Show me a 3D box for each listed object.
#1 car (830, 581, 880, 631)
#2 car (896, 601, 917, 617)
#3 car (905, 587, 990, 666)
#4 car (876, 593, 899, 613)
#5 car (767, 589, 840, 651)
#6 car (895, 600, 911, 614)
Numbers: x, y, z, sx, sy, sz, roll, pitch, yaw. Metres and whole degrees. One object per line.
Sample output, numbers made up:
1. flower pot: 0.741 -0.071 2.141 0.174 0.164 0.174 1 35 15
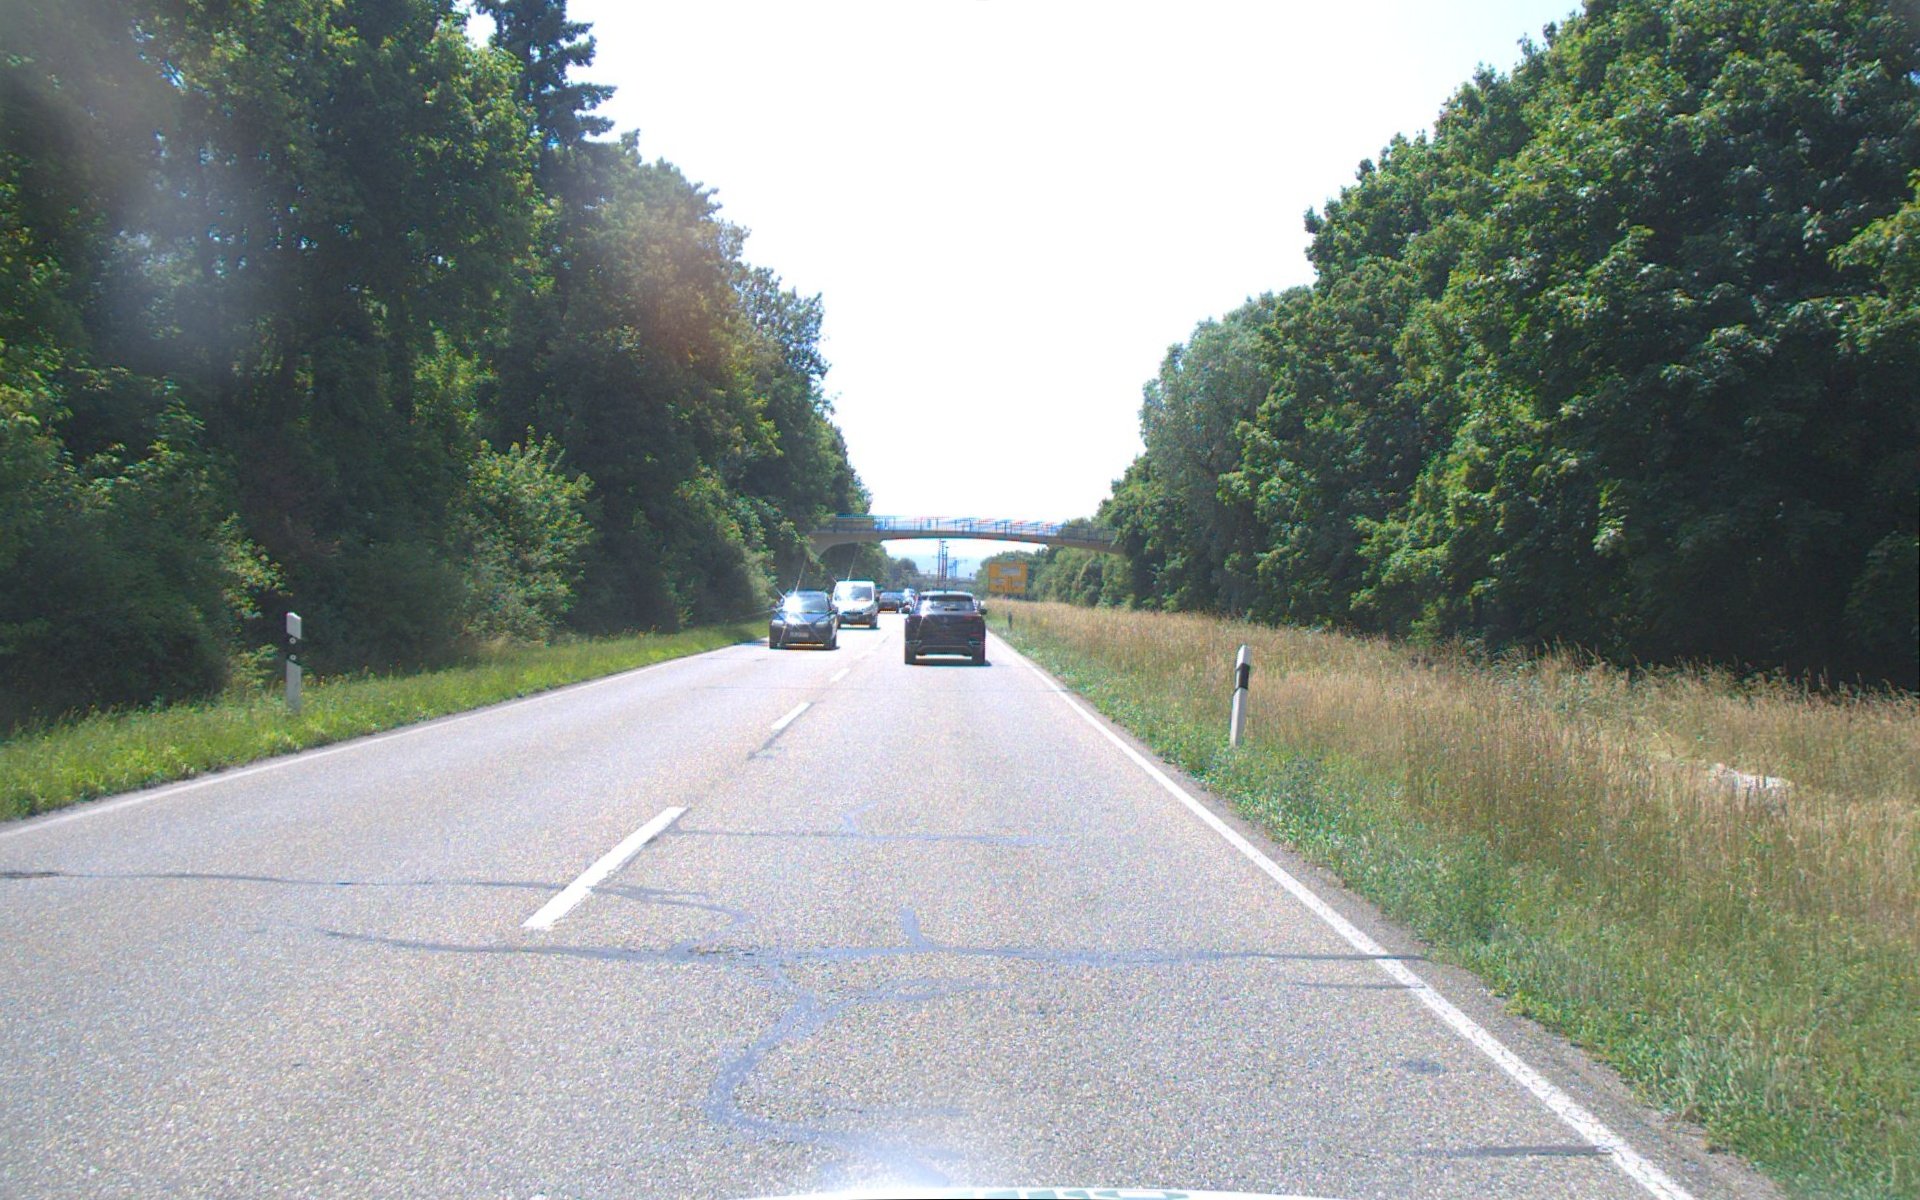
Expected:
1. car: -4.352 0.240 69.133 1.837 1.962 4.986 1 0 -1
2. car: -4.911 0.802 151.585 1.747 1.475 4.110 1 0 1
3. car: -0.247 0.560 36.583 1.719 1.583 4.000 2 0 0
4. car: -5.484 0.207 125.355 1.648 1.519 3.999 0 0 -1
5. car: -4.170 0.515 44.628 1.638 1.545 3.999 1 0 -1
6. car: -6.284 0.789 183.200 1.643 1.458 3.772 0 0 0
